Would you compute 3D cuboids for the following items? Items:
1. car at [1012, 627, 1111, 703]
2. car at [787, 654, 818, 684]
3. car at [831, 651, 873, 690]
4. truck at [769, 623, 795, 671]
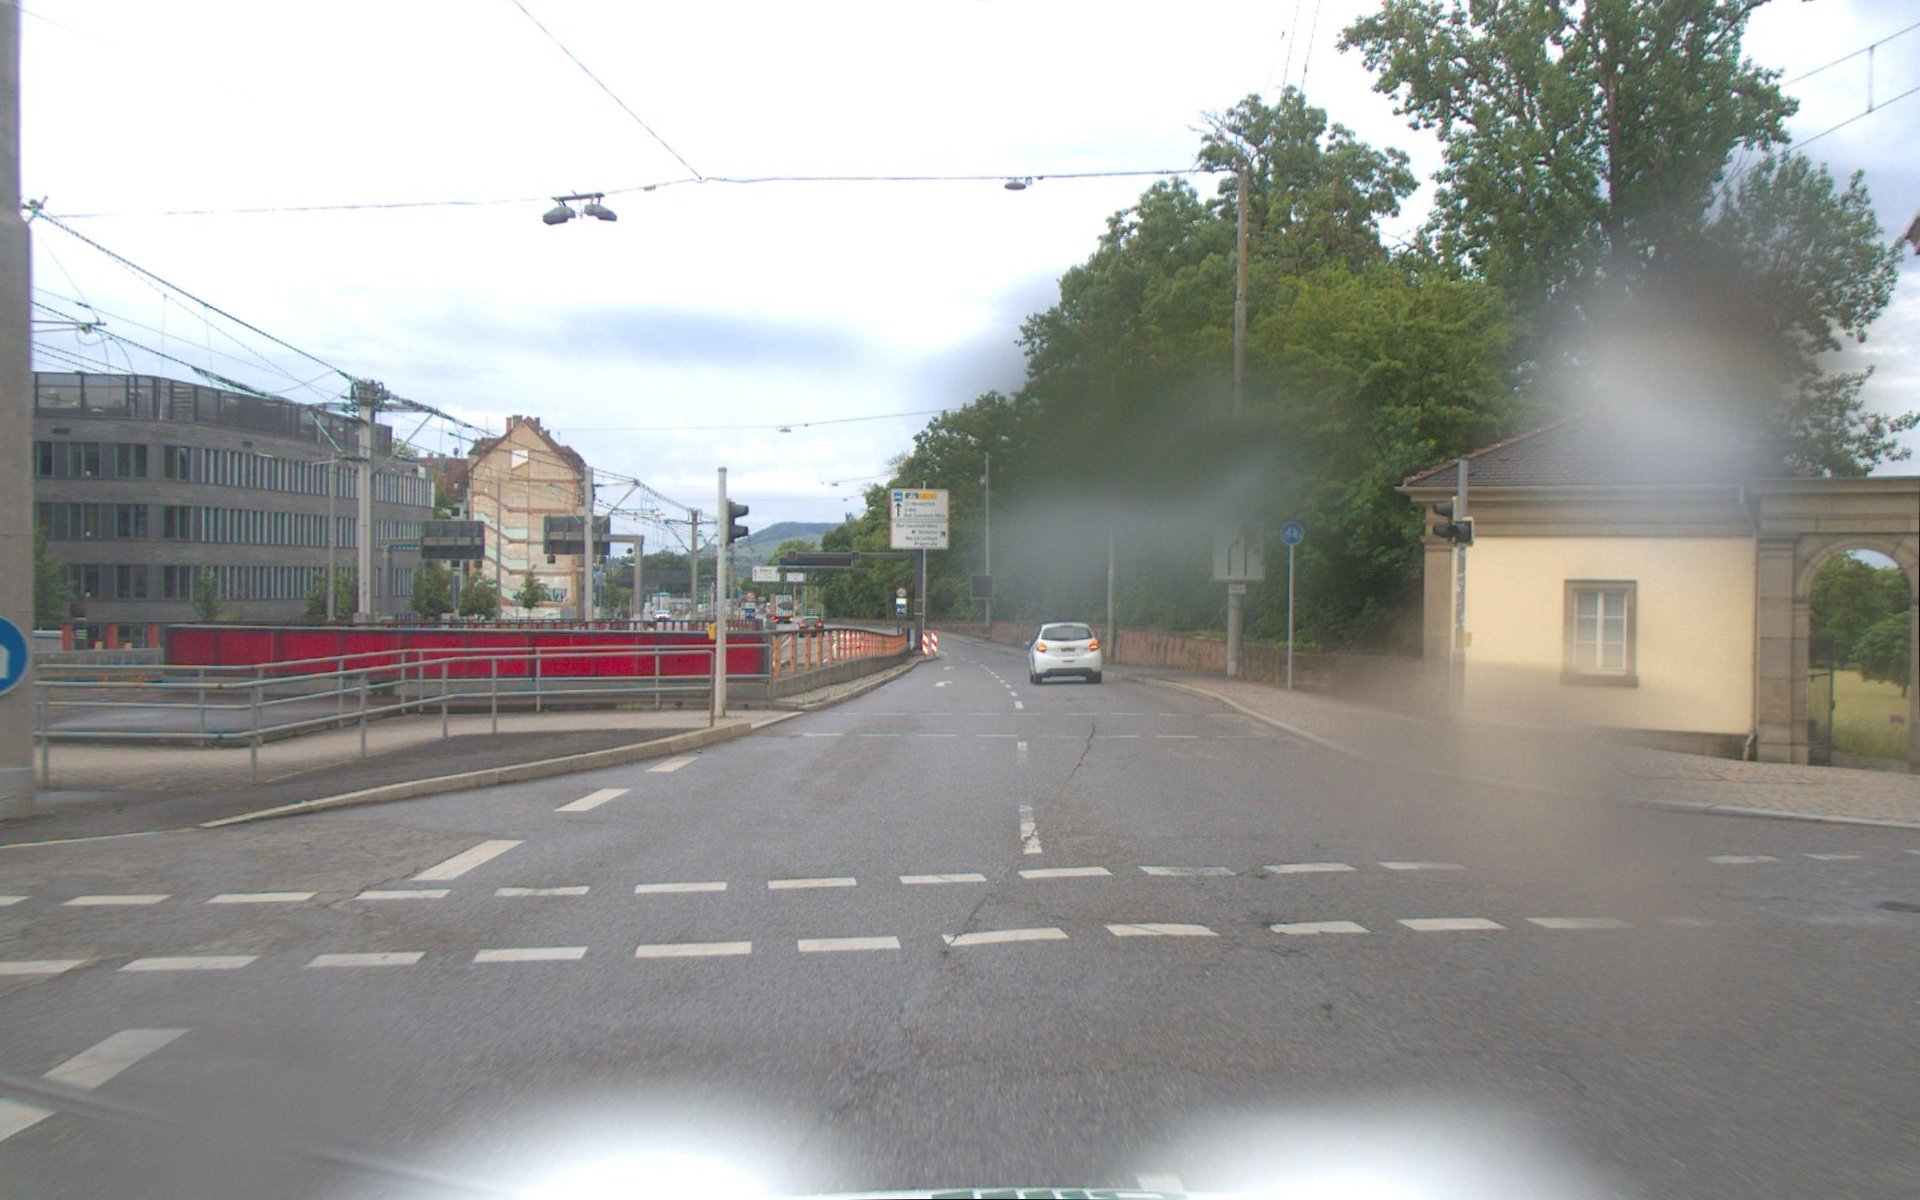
[{"bbox_3d":[2.473,1.662,41.255,1.917,1.514,3.995,0,-7,-5],"label":"car"},{"bbox_3d":[-11.297,4.923,118.442,1.957,1.906,3.991,-1,-5,-9],"label":"car"},{"bbox_3d":[-5.976,3.894,90.870,2.042,1.906,4.088,-1,-5,-7],"label":"car"},{"bbox_3d":[-25.114,6.734,232.771,3.399,5.497,12.028,0,-7,-7],"label":"truck"}]
